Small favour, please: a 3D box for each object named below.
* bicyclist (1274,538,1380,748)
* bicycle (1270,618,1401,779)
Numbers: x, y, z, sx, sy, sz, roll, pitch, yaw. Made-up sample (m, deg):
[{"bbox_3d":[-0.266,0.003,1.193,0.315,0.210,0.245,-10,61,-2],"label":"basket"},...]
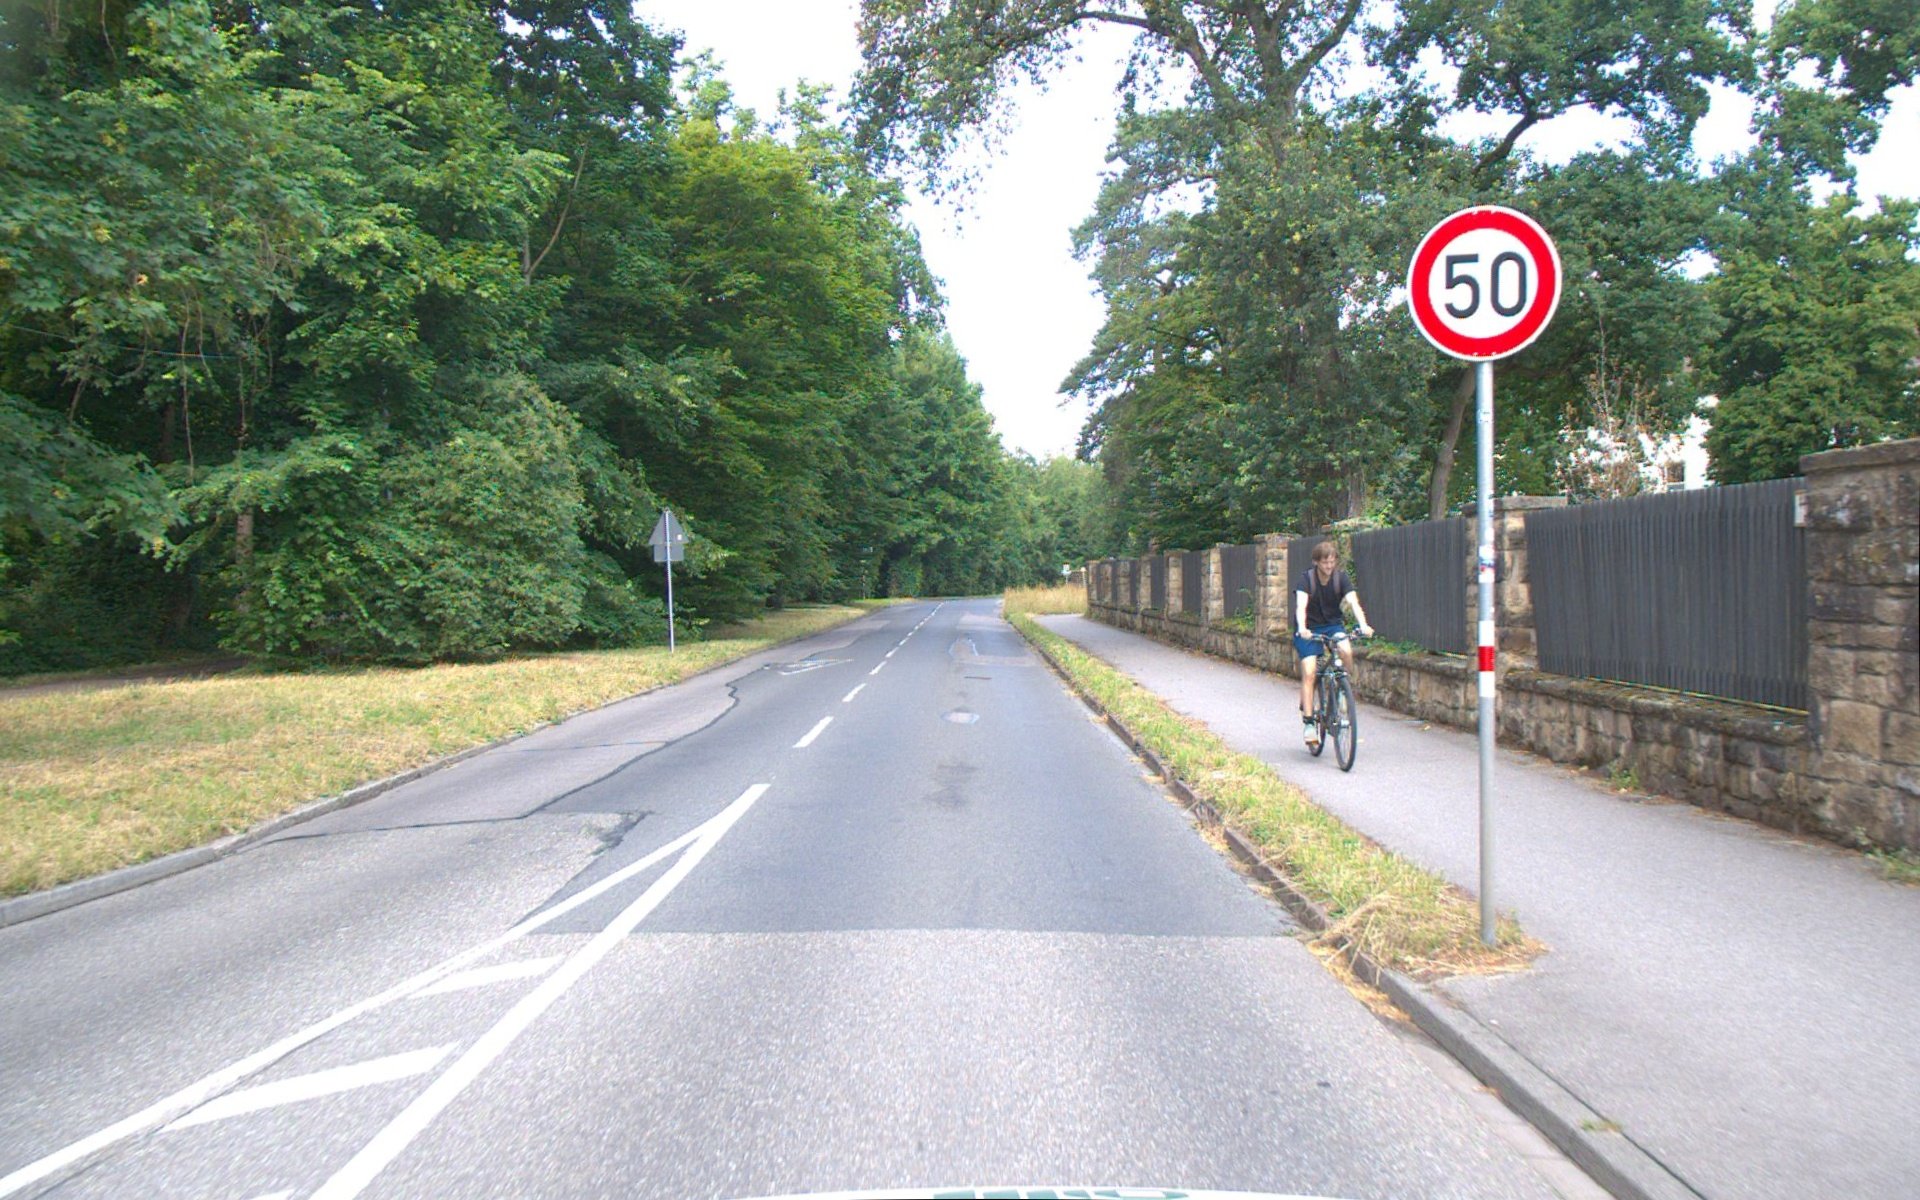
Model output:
[{"bbox_3d":[2.977,0.317,13.490,0.558,1.615,1.206,-2,1,0],"label":"bicyclist"},{"bbox_3d":[2.985,0.742,13.330,0.547,1.091,2.157,-2,2,0],"label":"bicycle"}]
